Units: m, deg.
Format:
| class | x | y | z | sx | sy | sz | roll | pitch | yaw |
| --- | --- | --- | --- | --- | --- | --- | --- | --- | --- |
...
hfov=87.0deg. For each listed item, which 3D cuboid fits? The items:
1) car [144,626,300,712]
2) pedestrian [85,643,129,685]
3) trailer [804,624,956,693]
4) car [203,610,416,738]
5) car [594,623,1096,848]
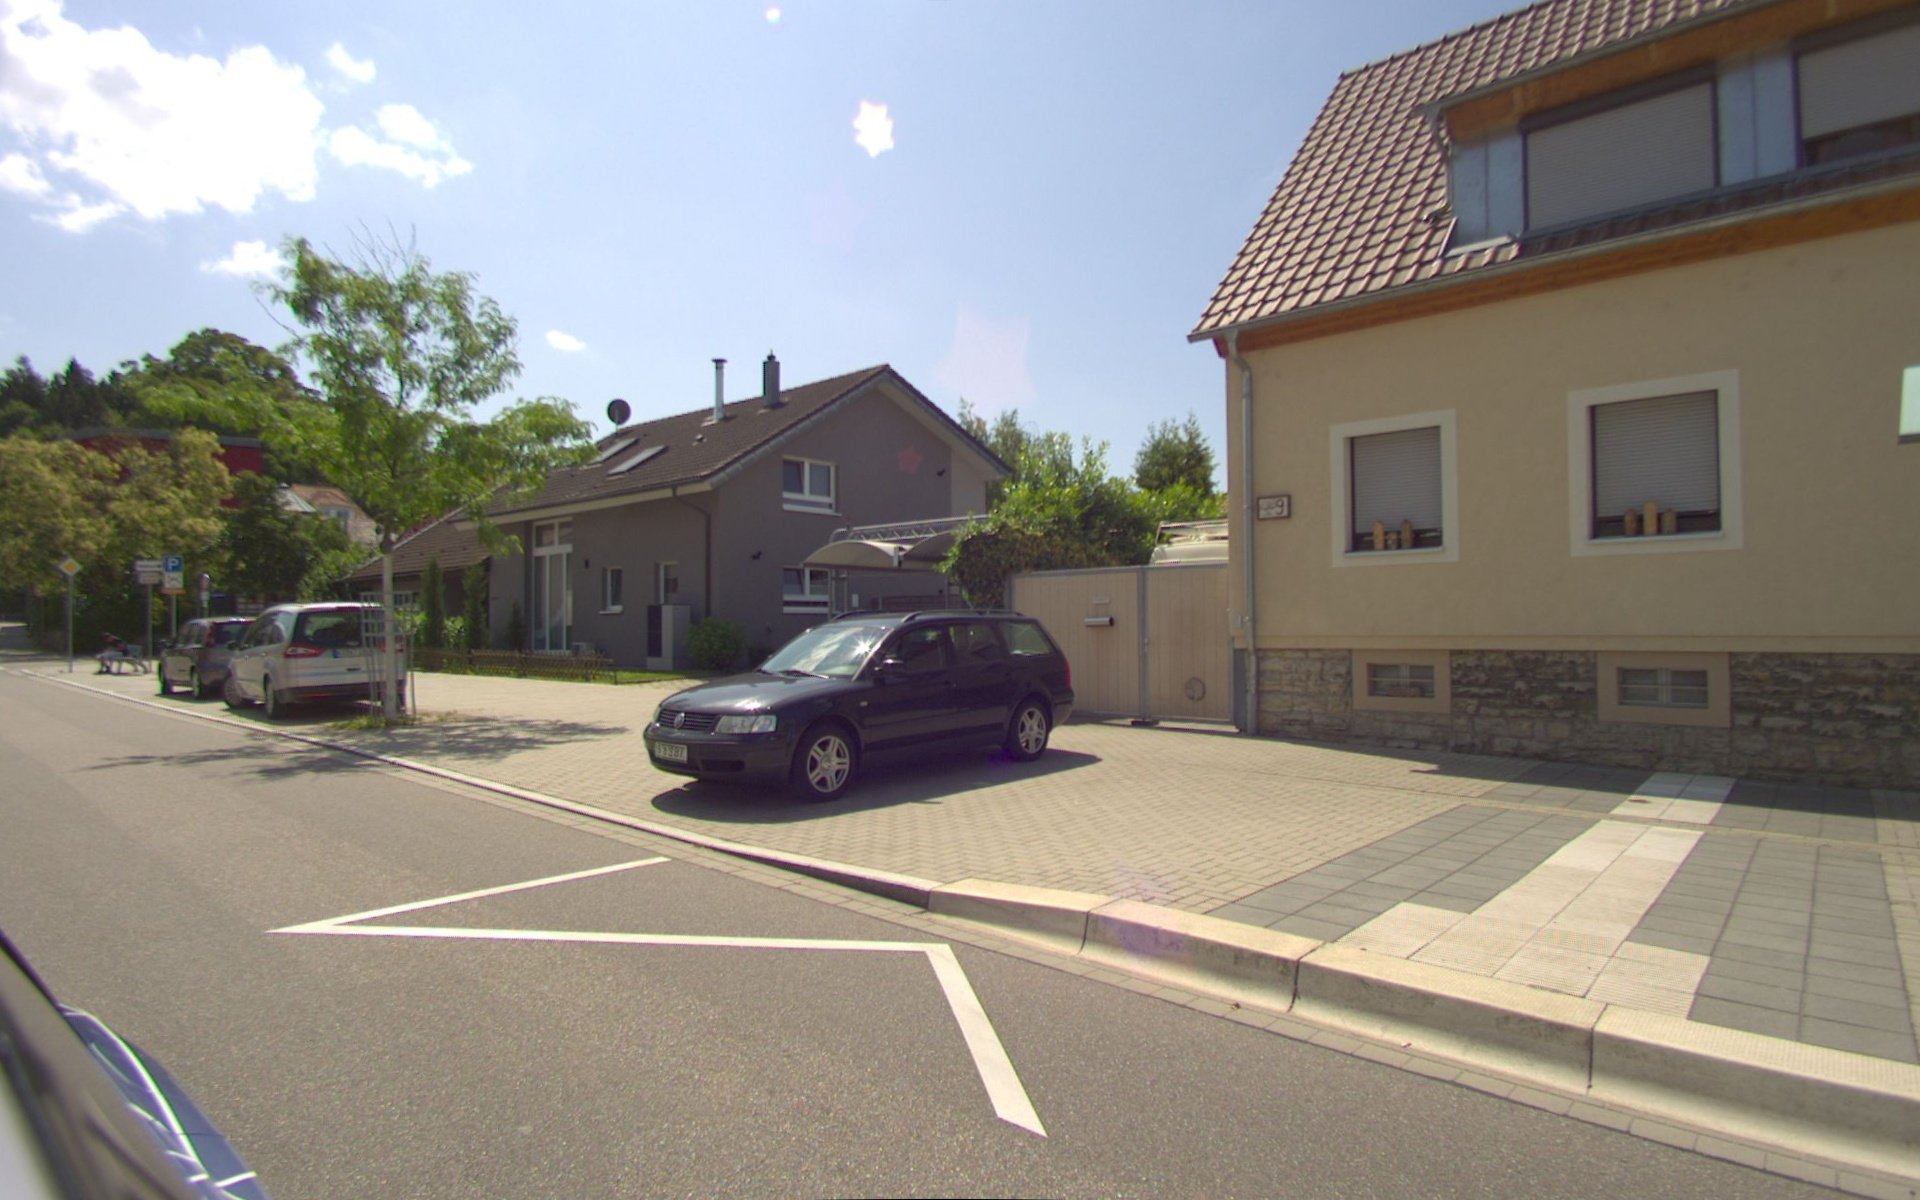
| class | x | y | z | sx | sy | sz | roll | pitch | yaw |
| --- | --- | --- | --- | --- | --- | --- | --- | --- | --- |
| car | -14.944 | 1.355 | 20.430 | 3.906 | 1.536 | 1.705 | -3 | -2 | 41 |
| pedestrian | -24.314 | 1.807 | 28.838 | 0.884 | 1.150 | 0.806 | -1 | -1 | 38 |
| trailer | -1.793 | 1.293 | 23.536 | 1.582 | 1.399 | 3.600 | -1 | -1 | 36 |
| car | -10.579 | 1.118 | 16.303 | 4.686 | 1.761 | 1.819 | -3 | -2 | 43 |
| car | -0.802 | 0.998 | 9.373 | 1.901 | 1.528 | 4.538 | -2 | -2 | 41 |
